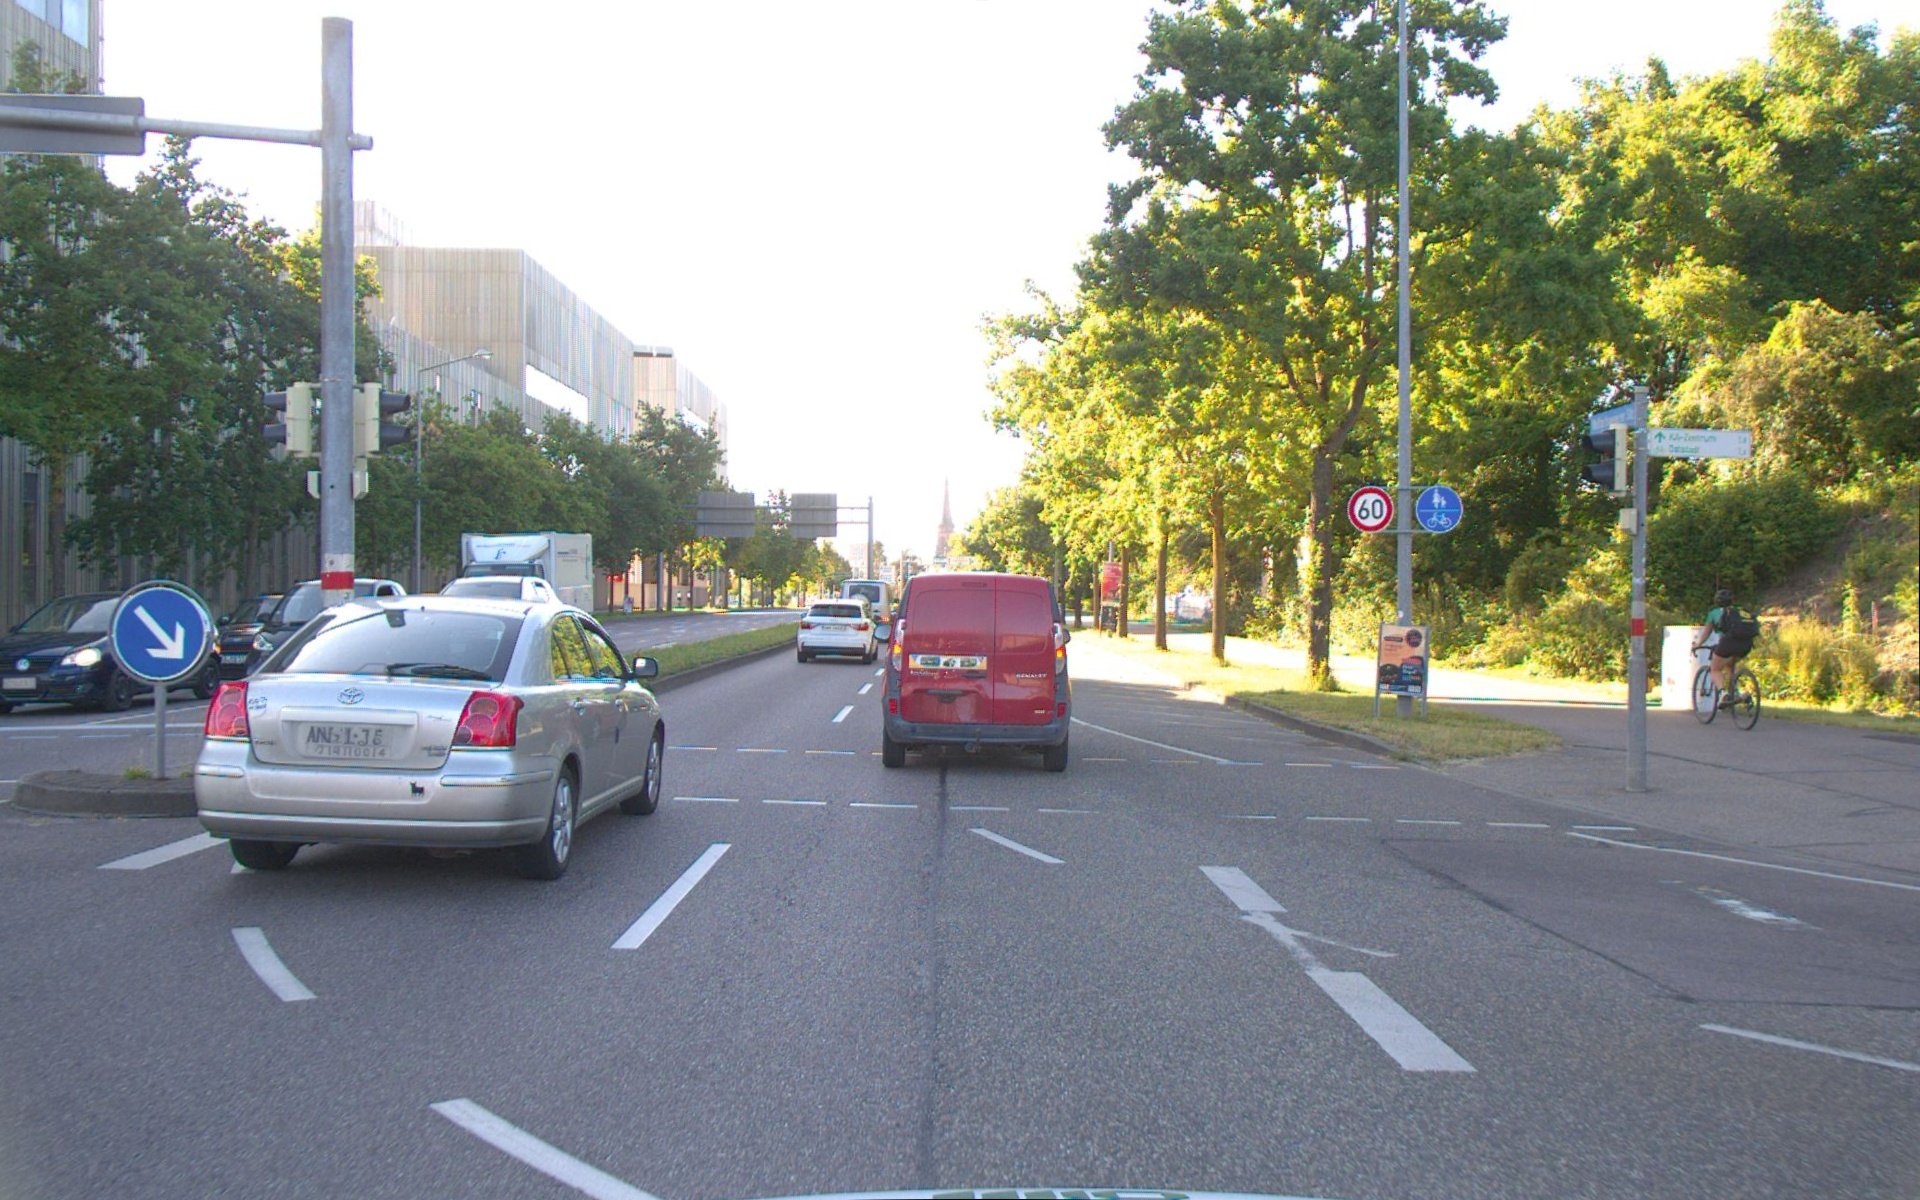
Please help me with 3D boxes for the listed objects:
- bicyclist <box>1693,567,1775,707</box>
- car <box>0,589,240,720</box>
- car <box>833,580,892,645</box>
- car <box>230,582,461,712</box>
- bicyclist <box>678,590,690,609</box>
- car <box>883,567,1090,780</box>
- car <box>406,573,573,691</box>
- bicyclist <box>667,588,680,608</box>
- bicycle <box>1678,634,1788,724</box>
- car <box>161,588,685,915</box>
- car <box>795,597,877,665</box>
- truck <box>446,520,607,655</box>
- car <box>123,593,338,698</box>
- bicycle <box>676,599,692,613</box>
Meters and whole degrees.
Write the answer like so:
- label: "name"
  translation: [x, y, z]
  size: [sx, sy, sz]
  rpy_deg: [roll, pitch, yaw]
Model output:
- label: "bicyclist"
  translation: [9.408, 0.450, 20.125]
  size: [0.579, 1.642, 0.942]
  rpy_deg: [1, -2, 2]
- label: "car"
  translation: [-10.857, 0.652, 21.086]
  size: [1.603, 1.469, 4.076]
  rpy_deg: [-2, 0, -1]
- label: "car"
  translation: [-3.188, 0.450, 54.735]
  size: [1.764, 2.024, 4.587]
  rpy_deg: [1, -2, -2]
- label: "car"
  translation: [-7.758, 0.569, 21.233]
  size: [1.603, 1.469, 3.718]
  rpy_deg: [-2, 0, -1]
- label: "bicyclist"
  translation: [-25.375, -0.071, 152.034]
  size: [0.891, 1.715, 1.408]
  rpy_deg: [1, -2, 0]
- label: "car"
  translation: [0.240, 0.627, 16.480]
  size: [1.768, 1.826, 4.000]
  rpy_deg: [1, 0, 0]
- label: "car"
  translation: [-7.984, 0.532, 28.452]
  size: [1.721, 1.828, 4.082]
  rpy_deg: [-2, 0, -1]
- label: "bicyclist"
  translation: [-26.356, -0.152, 151.991]
  size: [0.891, 1.797, 1.396]
  rpy_deg: [1, -2, 0]
- label: "bicycle"
  translation: [9.415, 0.949, 20.198]
  size: [0.579, 1.041, 1.751]
  rpy_deg: [1, -2, 2]
- label: "car"
  translation: [-2.854, 0.721, 9.855]
  size: [1.698, 1.506, 4.318]
  rpy_deg: [1, 0, 0]
- label: "car"
  translation: [-2.841, 0.687, 38.476]
  size: [1.777, 1.463, 3.729]
  rpy_deg: [1, 0, -3]
- label: "truck"
  translation: [-10.884, -0.268, 42.130]
  size: [2.360, 3.080, 6.655]
  rpy_deg: [-2, 0, -1]
- label: "car"
  translation: [-11.352, 0.678, 26.027]
  size: [1.603, 1.469, 4.076]
  rpy_deg: [-2, 0, -1]
- label: "bicycle"
  translation: [-25.382, 0.575, 152.017]
  size: [0.891, 1.220, 3.300]
  rpy_deg: [1, -2, 0]
